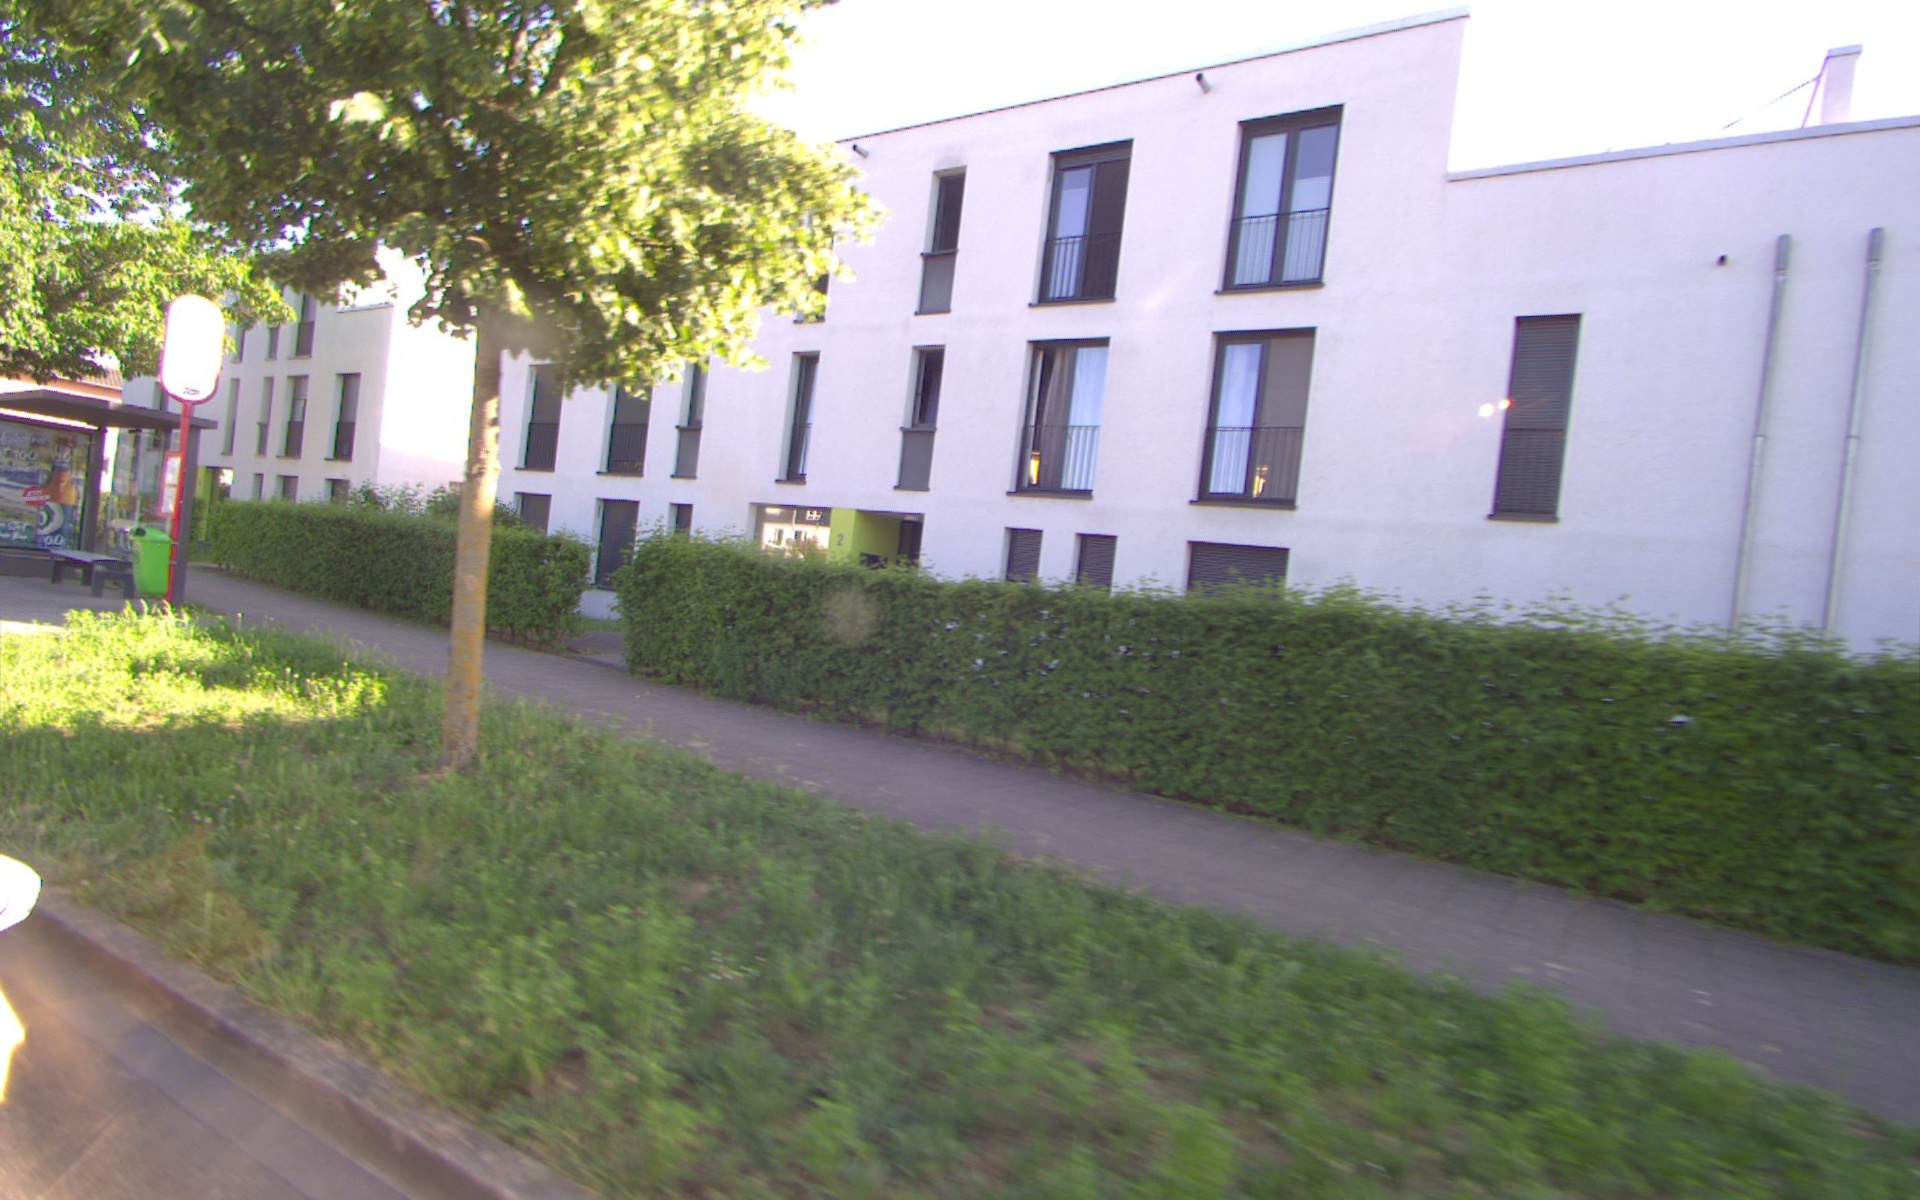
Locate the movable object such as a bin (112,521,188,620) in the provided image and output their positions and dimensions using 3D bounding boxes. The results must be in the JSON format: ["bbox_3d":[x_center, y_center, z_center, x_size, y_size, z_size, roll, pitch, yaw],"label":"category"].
[{"bbox_3d":[-9.081,-0.326,11.283,0.589,1.029,0.369,7,1,25],"label":"movable object such as a bin"}]
